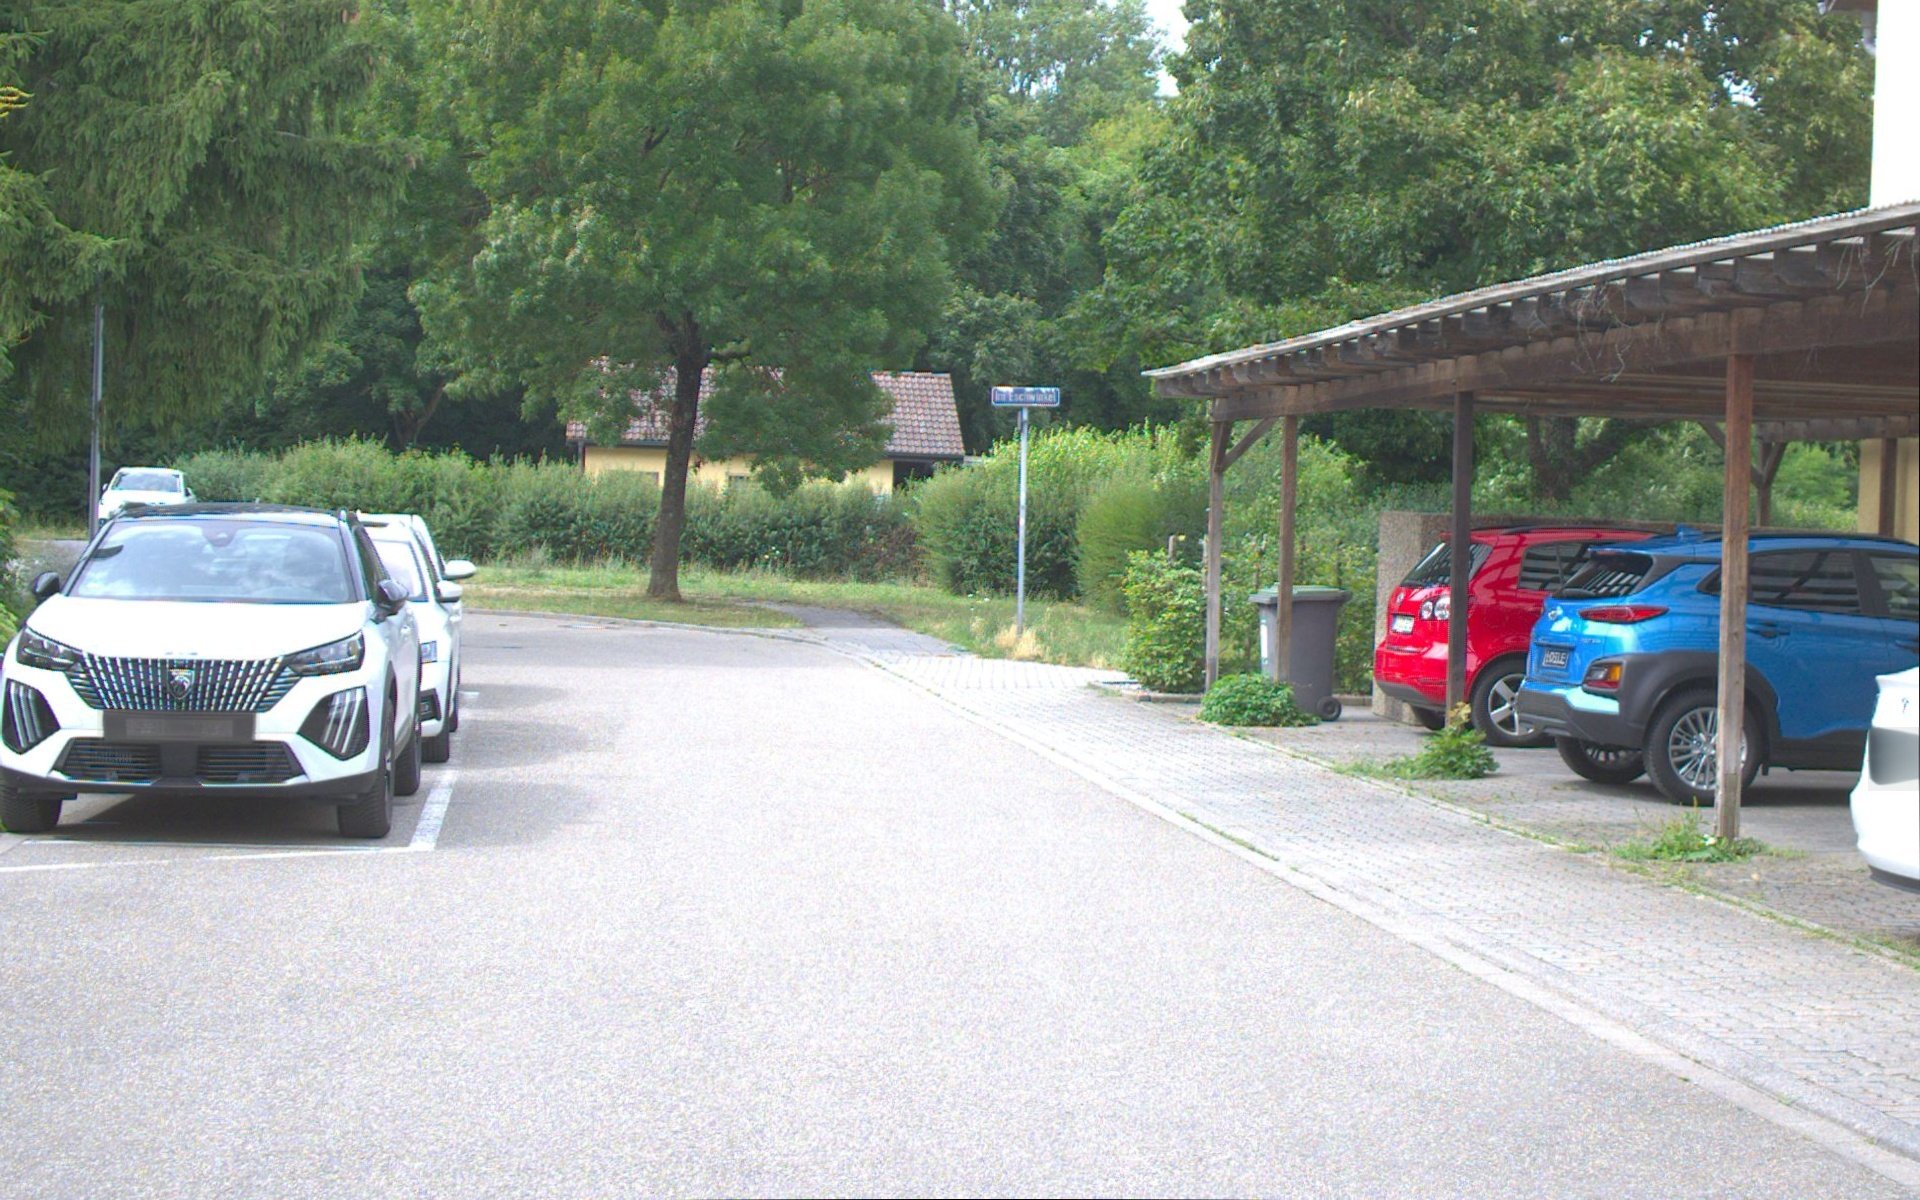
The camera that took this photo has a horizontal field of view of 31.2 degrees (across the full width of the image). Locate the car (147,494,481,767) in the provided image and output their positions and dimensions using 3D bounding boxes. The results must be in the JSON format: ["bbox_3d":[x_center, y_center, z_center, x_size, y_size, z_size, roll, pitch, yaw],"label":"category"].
[{"bbox_3d":[-4.124,0.109,22.582,1.809,1.556,4.849,2,2,-7],"label":"car"}]

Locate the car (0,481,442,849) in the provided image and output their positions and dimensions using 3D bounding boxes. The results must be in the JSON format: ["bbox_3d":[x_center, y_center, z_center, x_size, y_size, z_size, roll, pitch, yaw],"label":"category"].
[{"bbox_3d":[-3.685,0.216,17.198,1.933,1.551,4.635,2,2,-6],"label":"car"}]

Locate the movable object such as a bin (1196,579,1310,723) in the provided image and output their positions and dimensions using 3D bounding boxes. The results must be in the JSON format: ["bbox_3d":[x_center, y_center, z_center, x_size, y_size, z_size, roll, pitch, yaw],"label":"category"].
[{"bbox_3d":[2.255,0.388,26.496,0.699,1.068,0.712,1,1,-10],"label":"movable object such as a bin"}]

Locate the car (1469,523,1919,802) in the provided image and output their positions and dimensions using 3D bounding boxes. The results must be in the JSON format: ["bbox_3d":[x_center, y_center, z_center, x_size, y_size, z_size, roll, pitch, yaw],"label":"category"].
[{"bbox_3d":[5.320,0.364,20.570,4.045,1.517,1.951,2,1,-9],"label":"car"}]

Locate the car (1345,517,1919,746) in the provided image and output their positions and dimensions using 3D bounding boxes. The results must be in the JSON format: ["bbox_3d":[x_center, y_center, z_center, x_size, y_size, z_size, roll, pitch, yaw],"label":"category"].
[{"bbox_3d":[5.043,0.217,25.490,3.956,1.535,1.840,2,1,-9],"label":"car"}]

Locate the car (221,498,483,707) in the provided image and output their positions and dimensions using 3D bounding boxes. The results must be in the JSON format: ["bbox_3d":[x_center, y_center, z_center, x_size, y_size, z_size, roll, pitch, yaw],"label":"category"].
[{"bbox_3d":[-4.871,-0.041,27.992,1.791,1.526,4.141,2,1,-6],"label":"car"}]

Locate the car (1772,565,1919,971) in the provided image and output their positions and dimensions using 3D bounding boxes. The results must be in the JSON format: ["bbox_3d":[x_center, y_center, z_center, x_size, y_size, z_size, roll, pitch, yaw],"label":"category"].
[{"bbox_3d":[5.610,0.666,13.018,4.449,1.428,2.028,2,1,-8],"label":"car"}]

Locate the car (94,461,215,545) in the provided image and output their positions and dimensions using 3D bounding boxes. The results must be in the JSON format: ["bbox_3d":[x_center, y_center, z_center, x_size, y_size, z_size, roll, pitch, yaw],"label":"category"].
[{"bbox_3d":[-17.004,-2.062,72.720,1.937,1.654,4.342,2,2,-6],"label":"car"}]
